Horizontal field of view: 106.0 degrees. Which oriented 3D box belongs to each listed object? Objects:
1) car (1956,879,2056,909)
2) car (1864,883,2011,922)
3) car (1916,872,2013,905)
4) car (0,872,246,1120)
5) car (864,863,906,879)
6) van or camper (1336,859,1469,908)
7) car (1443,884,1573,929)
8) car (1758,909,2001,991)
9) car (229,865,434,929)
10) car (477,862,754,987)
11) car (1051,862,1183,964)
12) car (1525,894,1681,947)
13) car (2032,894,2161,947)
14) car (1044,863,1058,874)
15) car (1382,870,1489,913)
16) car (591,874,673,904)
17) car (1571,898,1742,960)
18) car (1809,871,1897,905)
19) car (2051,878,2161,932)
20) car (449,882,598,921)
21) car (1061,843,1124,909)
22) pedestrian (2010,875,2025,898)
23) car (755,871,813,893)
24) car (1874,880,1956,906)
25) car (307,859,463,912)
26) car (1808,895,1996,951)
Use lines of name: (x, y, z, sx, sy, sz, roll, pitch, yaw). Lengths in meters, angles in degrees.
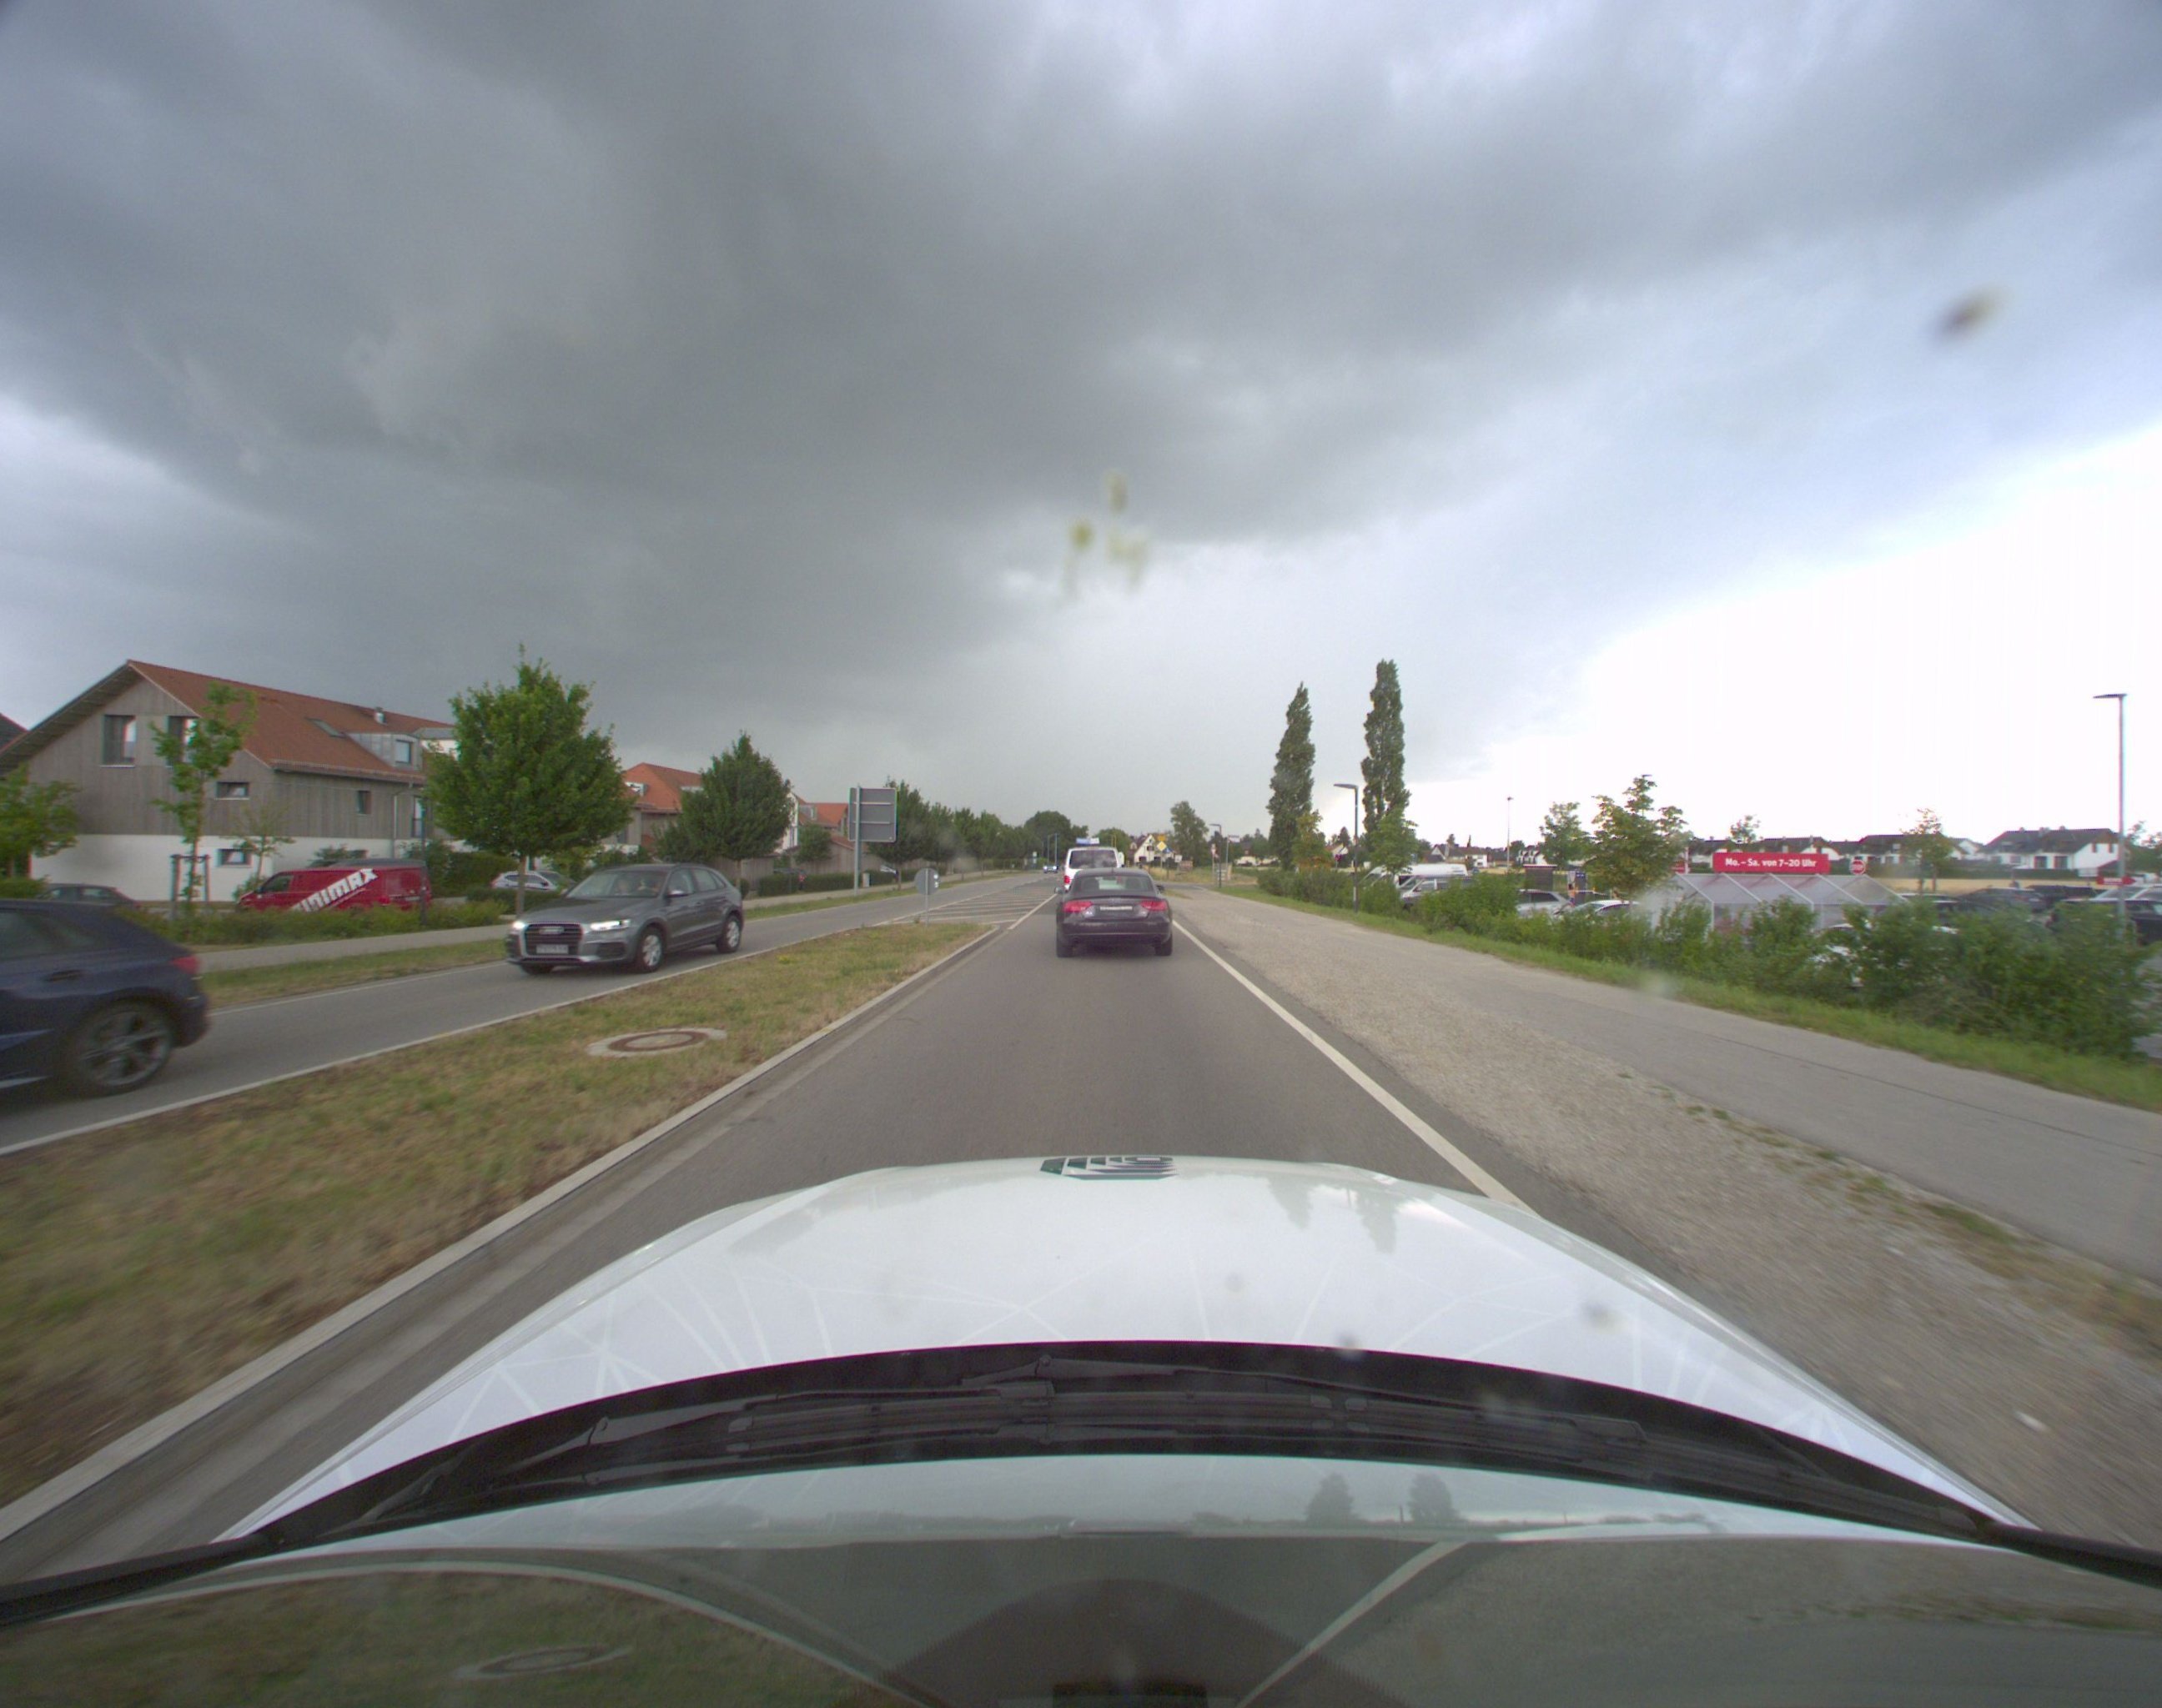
car: (53.666, 2.292, 47.333, 1.739, 1.508, 3.580, -1, 0, 1)
car: (35.522, 2.001, 33.842, 4.165, 1.433, 1.901, -1, 0, -1)
car: (57.833, 2.224, 53.411, 1.986, 2.014, 4.001, -1, 0, 1)
car: (-7.553, 0.897, 4.252, 1.819, 1.488, 4.351, -1, 0, 1)
car: (-21.195, 1.858, 88.112, 3.971, 1.556, 2.001, 2, 0, 2)
van or camper: (17.621, 1.596, 44.841, 6.448, 2.464, 2.280, -1, 0, -2)
car: (17.037, 2.079, 32.637, 4.134, 1.598, 2.079, -1, 0, -1)
car: (17.488, 2.072, 17.955, 3.745, 1.538, 1.675, -1, 0, -1)
car: (-23.302, 1.317, 25.423, 4.880, 1.816, 1.909, -1, 0, 6)
car: (-6.967, 0.947, 12.813, 1.819, 1.582, 4.217, -1, 0, 1)
car: (0.449, 0.877, 14.034, 1.822, 1.388, 4.382, -2, 0, -3)
car: (17.269, 2.178, 27.053, 4.134, 1.538, 1.675, -1, 0, -1)
car: (35.866, 2.255, 27.915, 3.967, 1.618, 2.003, -1, 0, 5)
car: (-4.110, 2.034, 112.443, 1.764, 1.443, 4.001, -1, 0, 1)
car: (18.011, 1.891, 41.542, 4.579, 2.014, 1.999, -1, 0, -1)
car: (-23.976, 1.846, 43.553, 3.502, 1.489, 1.563, -1, 0, 0)
car: (16.459, 2.120, 23.410, 3.745, 1.538, 1.675, -1, 0, -1)
car: (50.292, 2.167, 53.152, 1.986, 2.014, 4.001, -1, 0, 1)
car: (42.824, 1.987, 32.304, 5.168, 2.014, 2.012, -1, 0, 25)
car: (-23.092, 1.968, 33.857, 4.886, 1.430, 1.907, -1, 0, 2)
car: (0.323, 0.665, 25.997, 1.820, 1.913, 3.999, 1, 0, 0)
pedestrian: (74.011, 2.590, 64.371, 0.480, 1.761, 0.599, -1, -1, 1)
car: (-21.214, 1.998, 58.272, 3.502, 1.489, 1.563, -1, 0, 0)
car: (54.448, 2.499, 53.277, 1.739, 1.508, 3.580, -1, 0, 1)
car: (-30.202, 1.279, 35.630, 1.985, 2.013, 5.206, 3, 0, 4)
car: (26.811, 2.227, 26.723, 3.967, 1.618, 2.003, -1, 0, 5)
